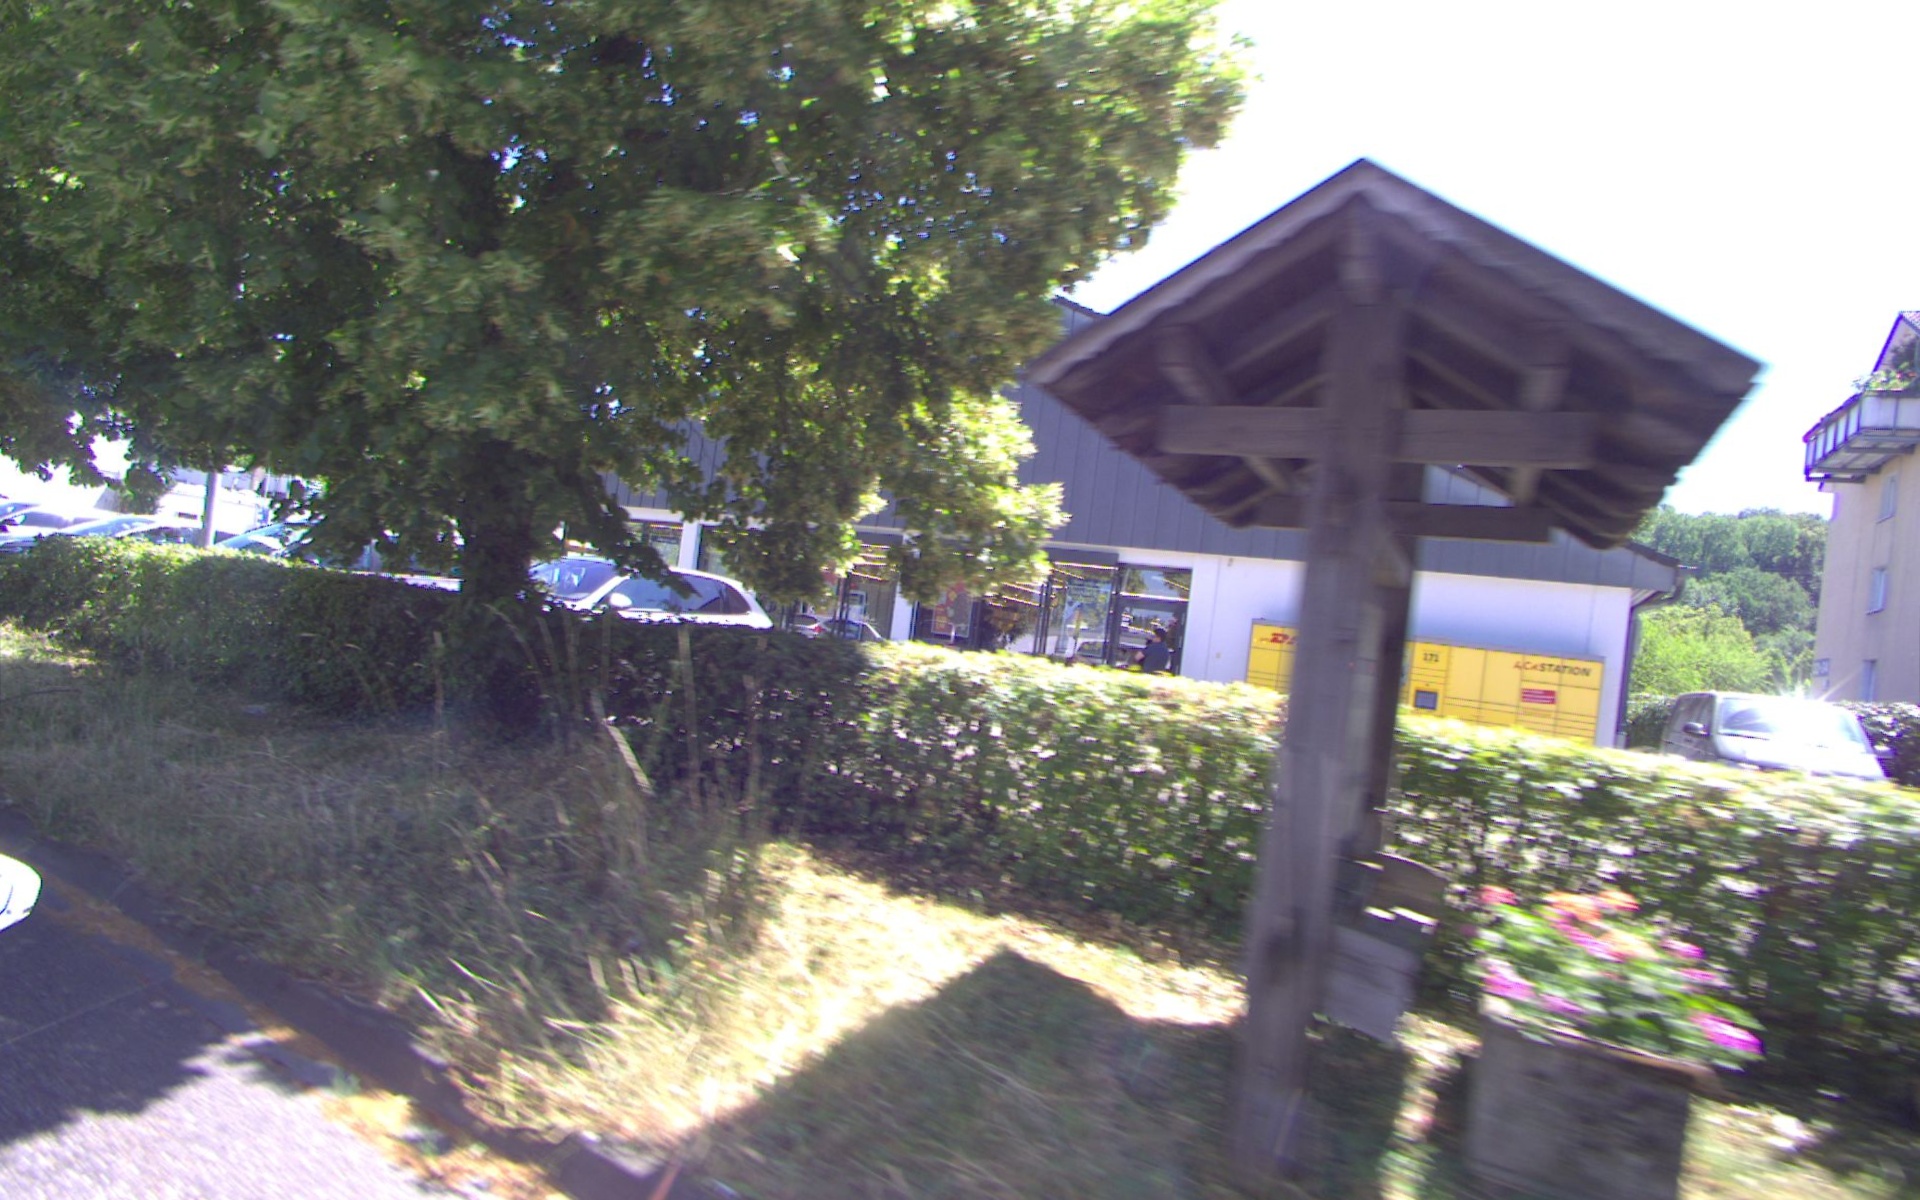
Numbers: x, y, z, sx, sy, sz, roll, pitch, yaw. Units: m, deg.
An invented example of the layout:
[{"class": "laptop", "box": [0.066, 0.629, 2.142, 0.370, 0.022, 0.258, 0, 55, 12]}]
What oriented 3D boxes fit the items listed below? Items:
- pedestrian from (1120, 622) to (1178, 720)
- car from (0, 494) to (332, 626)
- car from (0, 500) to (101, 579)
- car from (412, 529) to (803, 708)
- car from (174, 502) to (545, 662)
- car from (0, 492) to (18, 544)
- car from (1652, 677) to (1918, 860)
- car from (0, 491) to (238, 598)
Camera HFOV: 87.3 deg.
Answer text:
[{"class": "pedestrian", "box": [3.196, 1.182, 16.990, 0.773, 1.522, 0.610, 6, 2, 12]}, {"class": "car", "box": [-12.751, -0.574, 15.886, 1.800, 1.557, 4.399, 6, -1, 30]}, {"class": "car", "box": [-21.359, -1.469, 21.654, 1.678, 1.528, 3.952, 7, -1, 30]}, {"class": "car", "box": [-3.835, 0.329, 11.643, 1.767, 1.582, 3.944, 7, -2, 30]}, {"class": "car", "box": [-8.283, -0.157, 14.269, 1.822, 1.748, 4.024, 7, -1, 30]}, {"class": "car", "box": [-30.708, -2.705, 29.855, 1.732, 1.526, 3.572, 7, -1, 30]}, {"class": "car", "box": [11.640, 2.202, 14.643, 1.888, 1.789, 5.246, 7, 1, 29]}, {"class": "car", "box": [-16.788, -1.071, 19.460, 1.835, 1.595, 4.114, 6, -1, 30]}]
